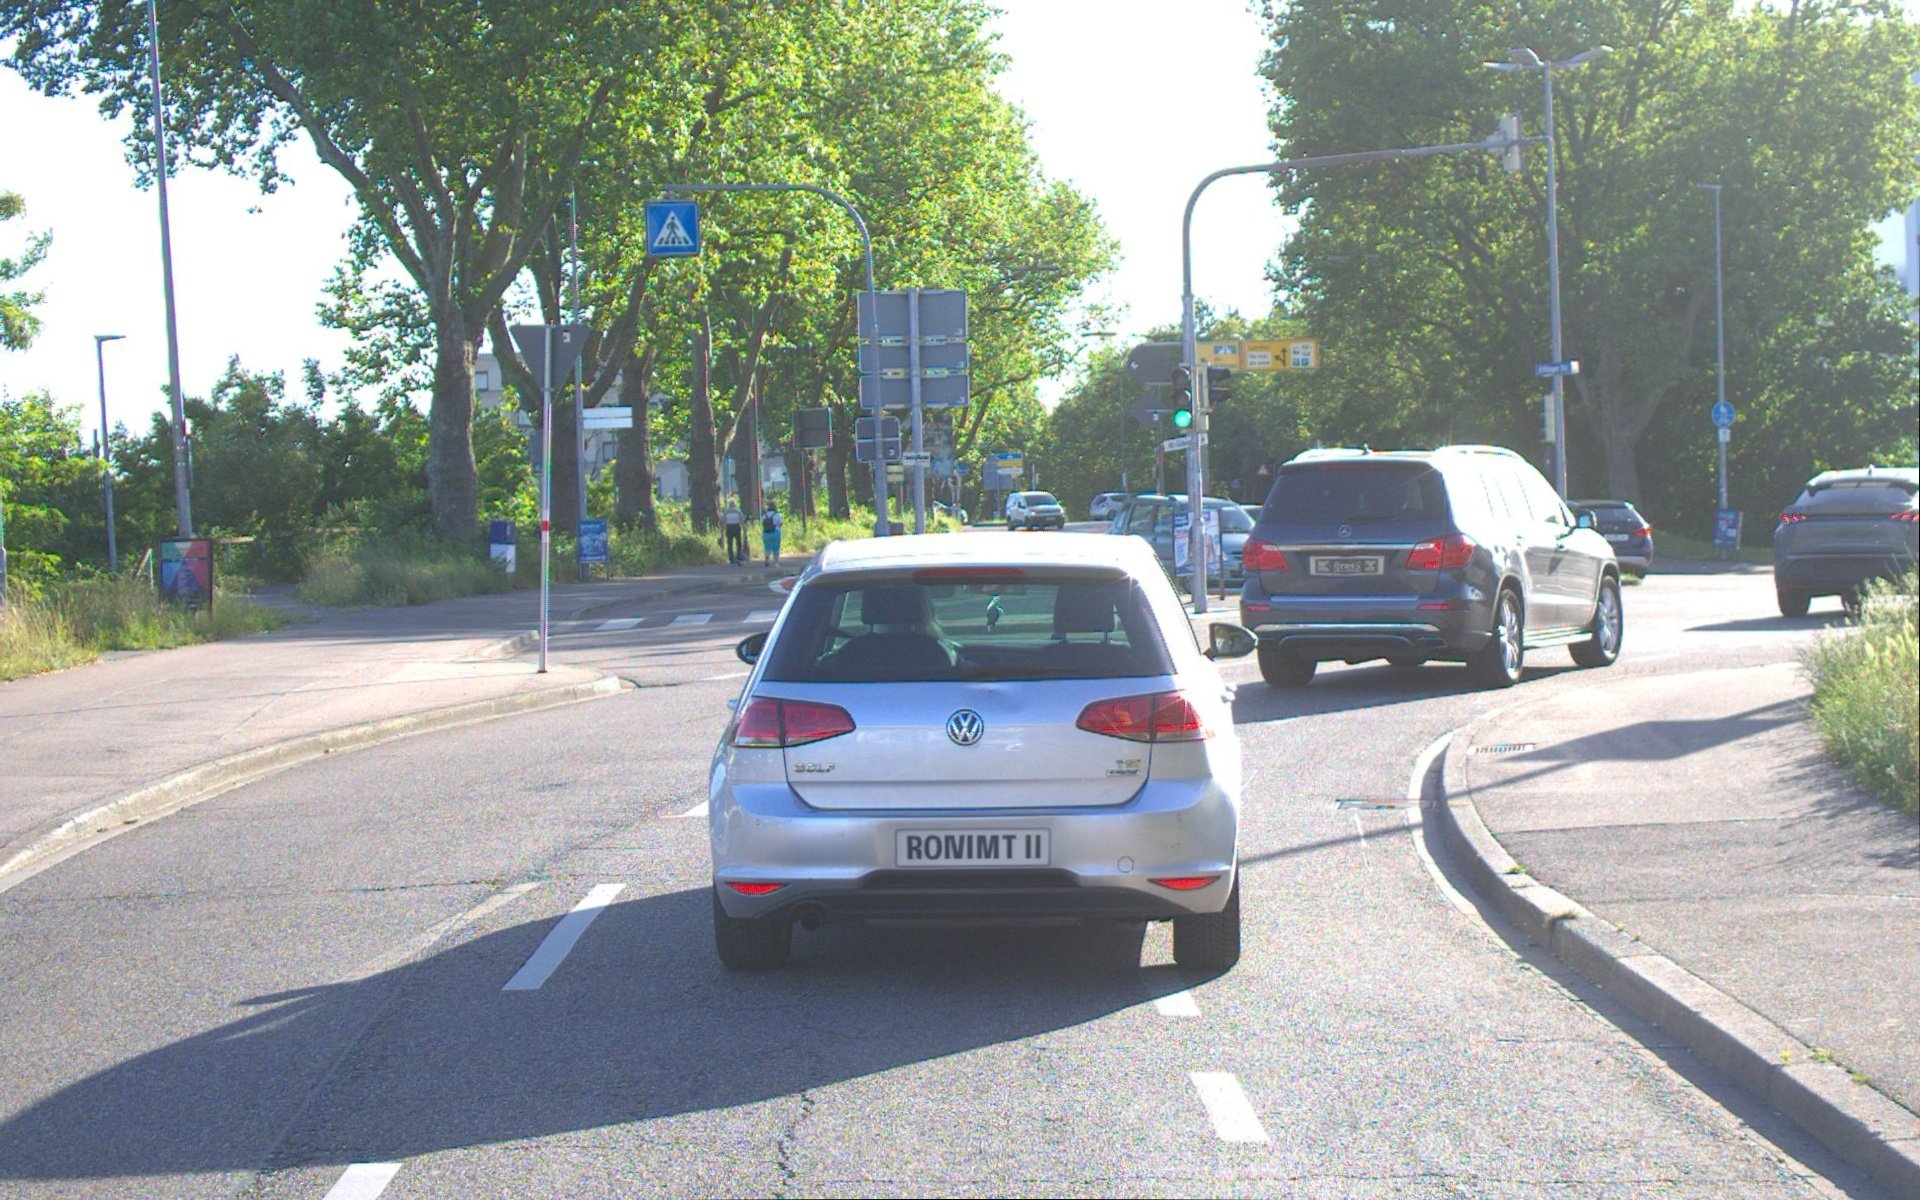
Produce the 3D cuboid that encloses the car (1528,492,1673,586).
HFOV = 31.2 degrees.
[{"bbox_3d":[12.276,-1.147,66.124,1.993,1.722,4.000,-1,0,0],"label":"car"}]

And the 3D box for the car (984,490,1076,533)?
[{"bbox_3d":[3.340,-4.214,164.527,3.996,2.007,1.995,0,2,40],"label":"car"}]

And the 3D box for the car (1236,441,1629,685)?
[{"bbox_3d":[3.851,-0.323,27.306,1.821,1.762,4.623,0,1,25],"label":"car"}]

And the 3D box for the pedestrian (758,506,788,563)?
[{"bbox_3d":[-4.674,-1.649,86.009,0.678,1.410,0.684,-1,1,0],"label":"pedestrian"}]

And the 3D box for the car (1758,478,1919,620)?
[{"bbox_3d":[10.538,-0.601,39.259,1.916,1.524,4.402,0,1,25],"label":"car"}]

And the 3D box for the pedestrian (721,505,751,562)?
[{"bbox_3d":[-5.614,-1.660,86.154,0.678,1.410,0.684,-1,1,0],"label":"pedestrian"}]

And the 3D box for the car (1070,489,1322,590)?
[{"bbox_3d":[3.875,-1.003,56.962,1.994,1.590,3.999,-2,2,-38],"label":"car"}]

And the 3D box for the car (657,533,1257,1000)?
[{"bbox_3d":[0.156,0.482,12.617,1.790,1.415,3.999,-1,1,6],"label":"car"}]
